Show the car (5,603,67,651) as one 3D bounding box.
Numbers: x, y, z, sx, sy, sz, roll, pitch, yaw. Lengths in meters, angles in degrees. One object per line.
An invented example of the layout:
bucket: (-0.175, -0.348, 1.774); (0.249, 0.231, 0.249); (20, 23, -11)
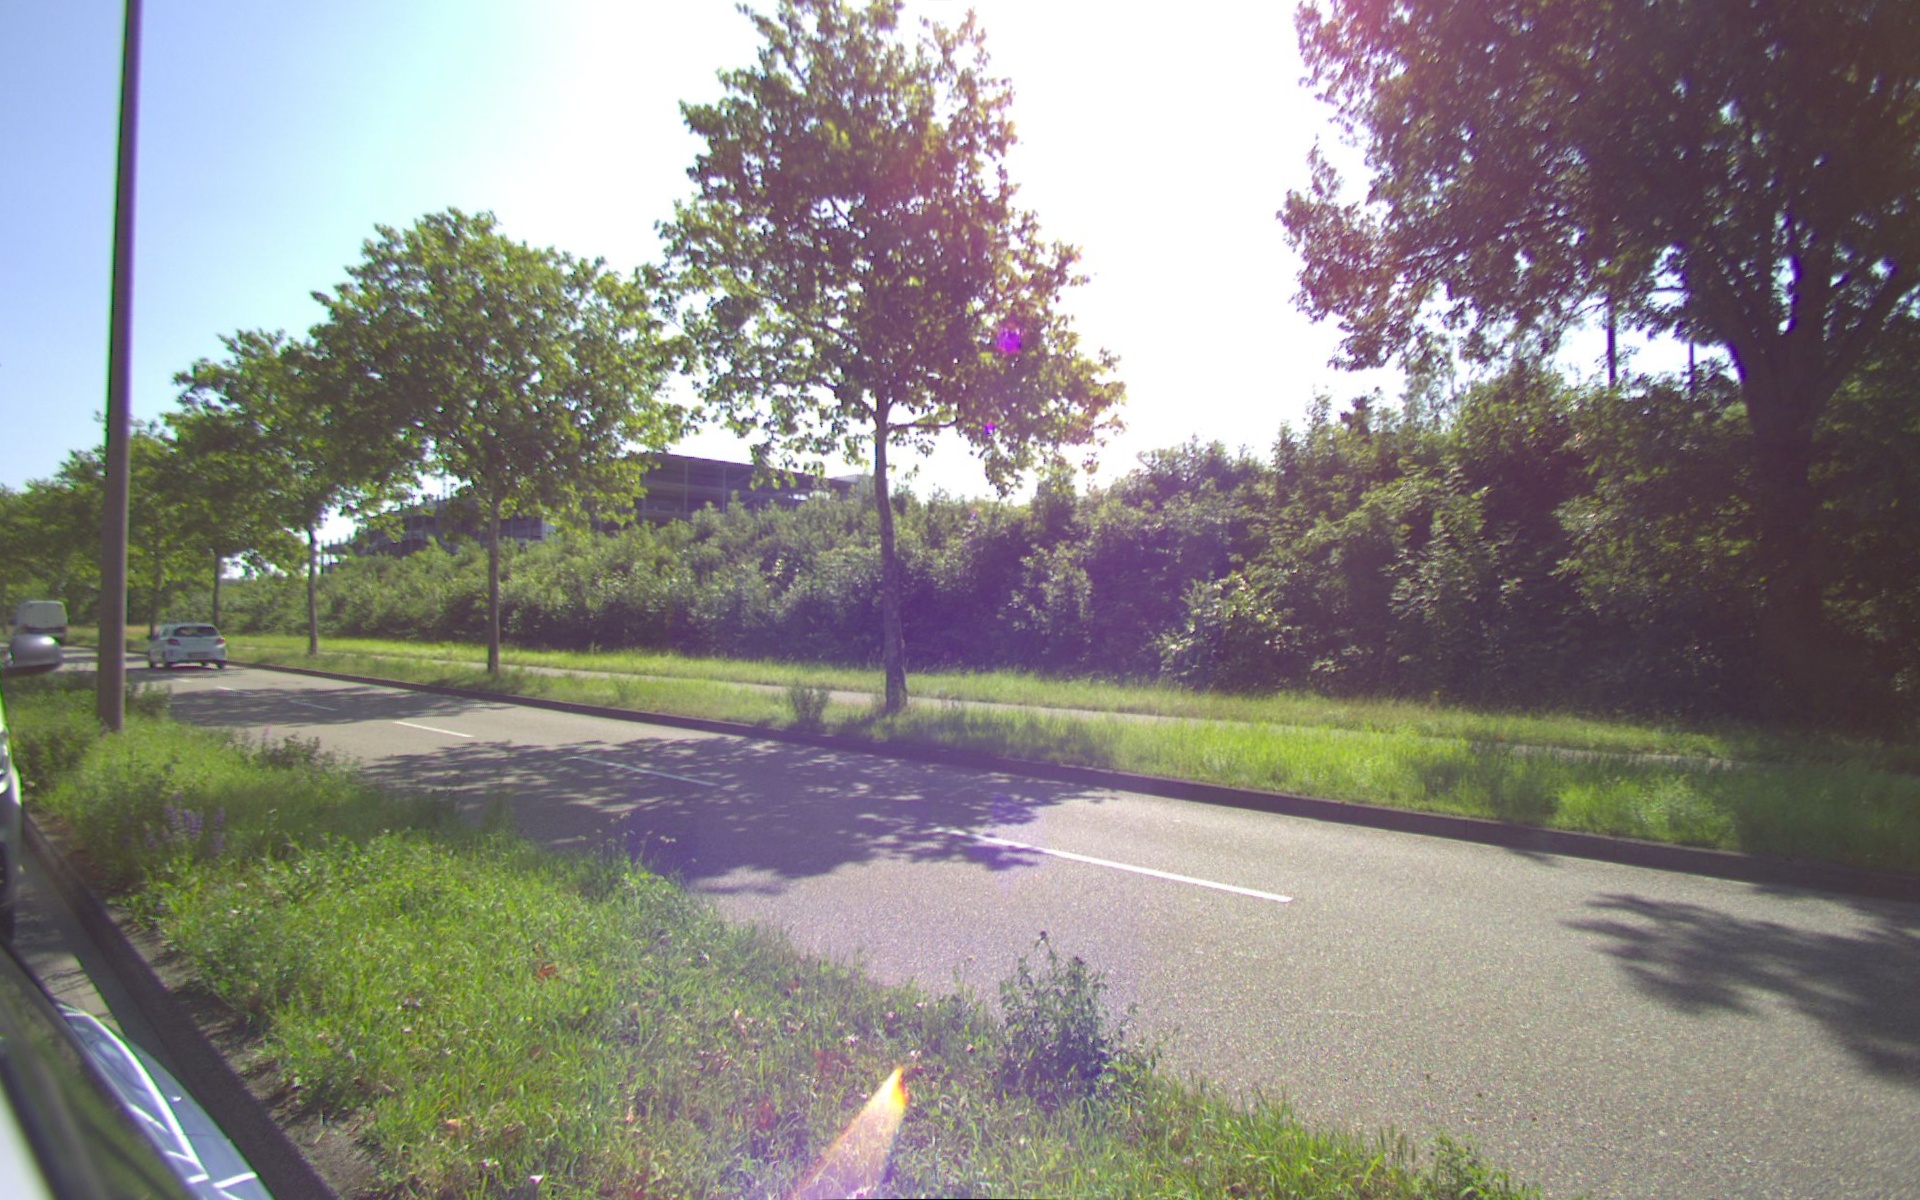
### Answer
car: (-54.767, 1.602, 59.956); (5.783, 2.683, 1.973); (-1, -3, 41)

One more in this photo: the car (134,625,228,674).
car: (-25.617, 1.596, 33.230); (3.998, 1.519, 1.682); (-2, -3, 41)

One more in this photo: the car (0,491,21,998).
car: (-6.040, 0.557, 4.761); (4.879, 1.915, 1.848); (-1, -2, 41)
